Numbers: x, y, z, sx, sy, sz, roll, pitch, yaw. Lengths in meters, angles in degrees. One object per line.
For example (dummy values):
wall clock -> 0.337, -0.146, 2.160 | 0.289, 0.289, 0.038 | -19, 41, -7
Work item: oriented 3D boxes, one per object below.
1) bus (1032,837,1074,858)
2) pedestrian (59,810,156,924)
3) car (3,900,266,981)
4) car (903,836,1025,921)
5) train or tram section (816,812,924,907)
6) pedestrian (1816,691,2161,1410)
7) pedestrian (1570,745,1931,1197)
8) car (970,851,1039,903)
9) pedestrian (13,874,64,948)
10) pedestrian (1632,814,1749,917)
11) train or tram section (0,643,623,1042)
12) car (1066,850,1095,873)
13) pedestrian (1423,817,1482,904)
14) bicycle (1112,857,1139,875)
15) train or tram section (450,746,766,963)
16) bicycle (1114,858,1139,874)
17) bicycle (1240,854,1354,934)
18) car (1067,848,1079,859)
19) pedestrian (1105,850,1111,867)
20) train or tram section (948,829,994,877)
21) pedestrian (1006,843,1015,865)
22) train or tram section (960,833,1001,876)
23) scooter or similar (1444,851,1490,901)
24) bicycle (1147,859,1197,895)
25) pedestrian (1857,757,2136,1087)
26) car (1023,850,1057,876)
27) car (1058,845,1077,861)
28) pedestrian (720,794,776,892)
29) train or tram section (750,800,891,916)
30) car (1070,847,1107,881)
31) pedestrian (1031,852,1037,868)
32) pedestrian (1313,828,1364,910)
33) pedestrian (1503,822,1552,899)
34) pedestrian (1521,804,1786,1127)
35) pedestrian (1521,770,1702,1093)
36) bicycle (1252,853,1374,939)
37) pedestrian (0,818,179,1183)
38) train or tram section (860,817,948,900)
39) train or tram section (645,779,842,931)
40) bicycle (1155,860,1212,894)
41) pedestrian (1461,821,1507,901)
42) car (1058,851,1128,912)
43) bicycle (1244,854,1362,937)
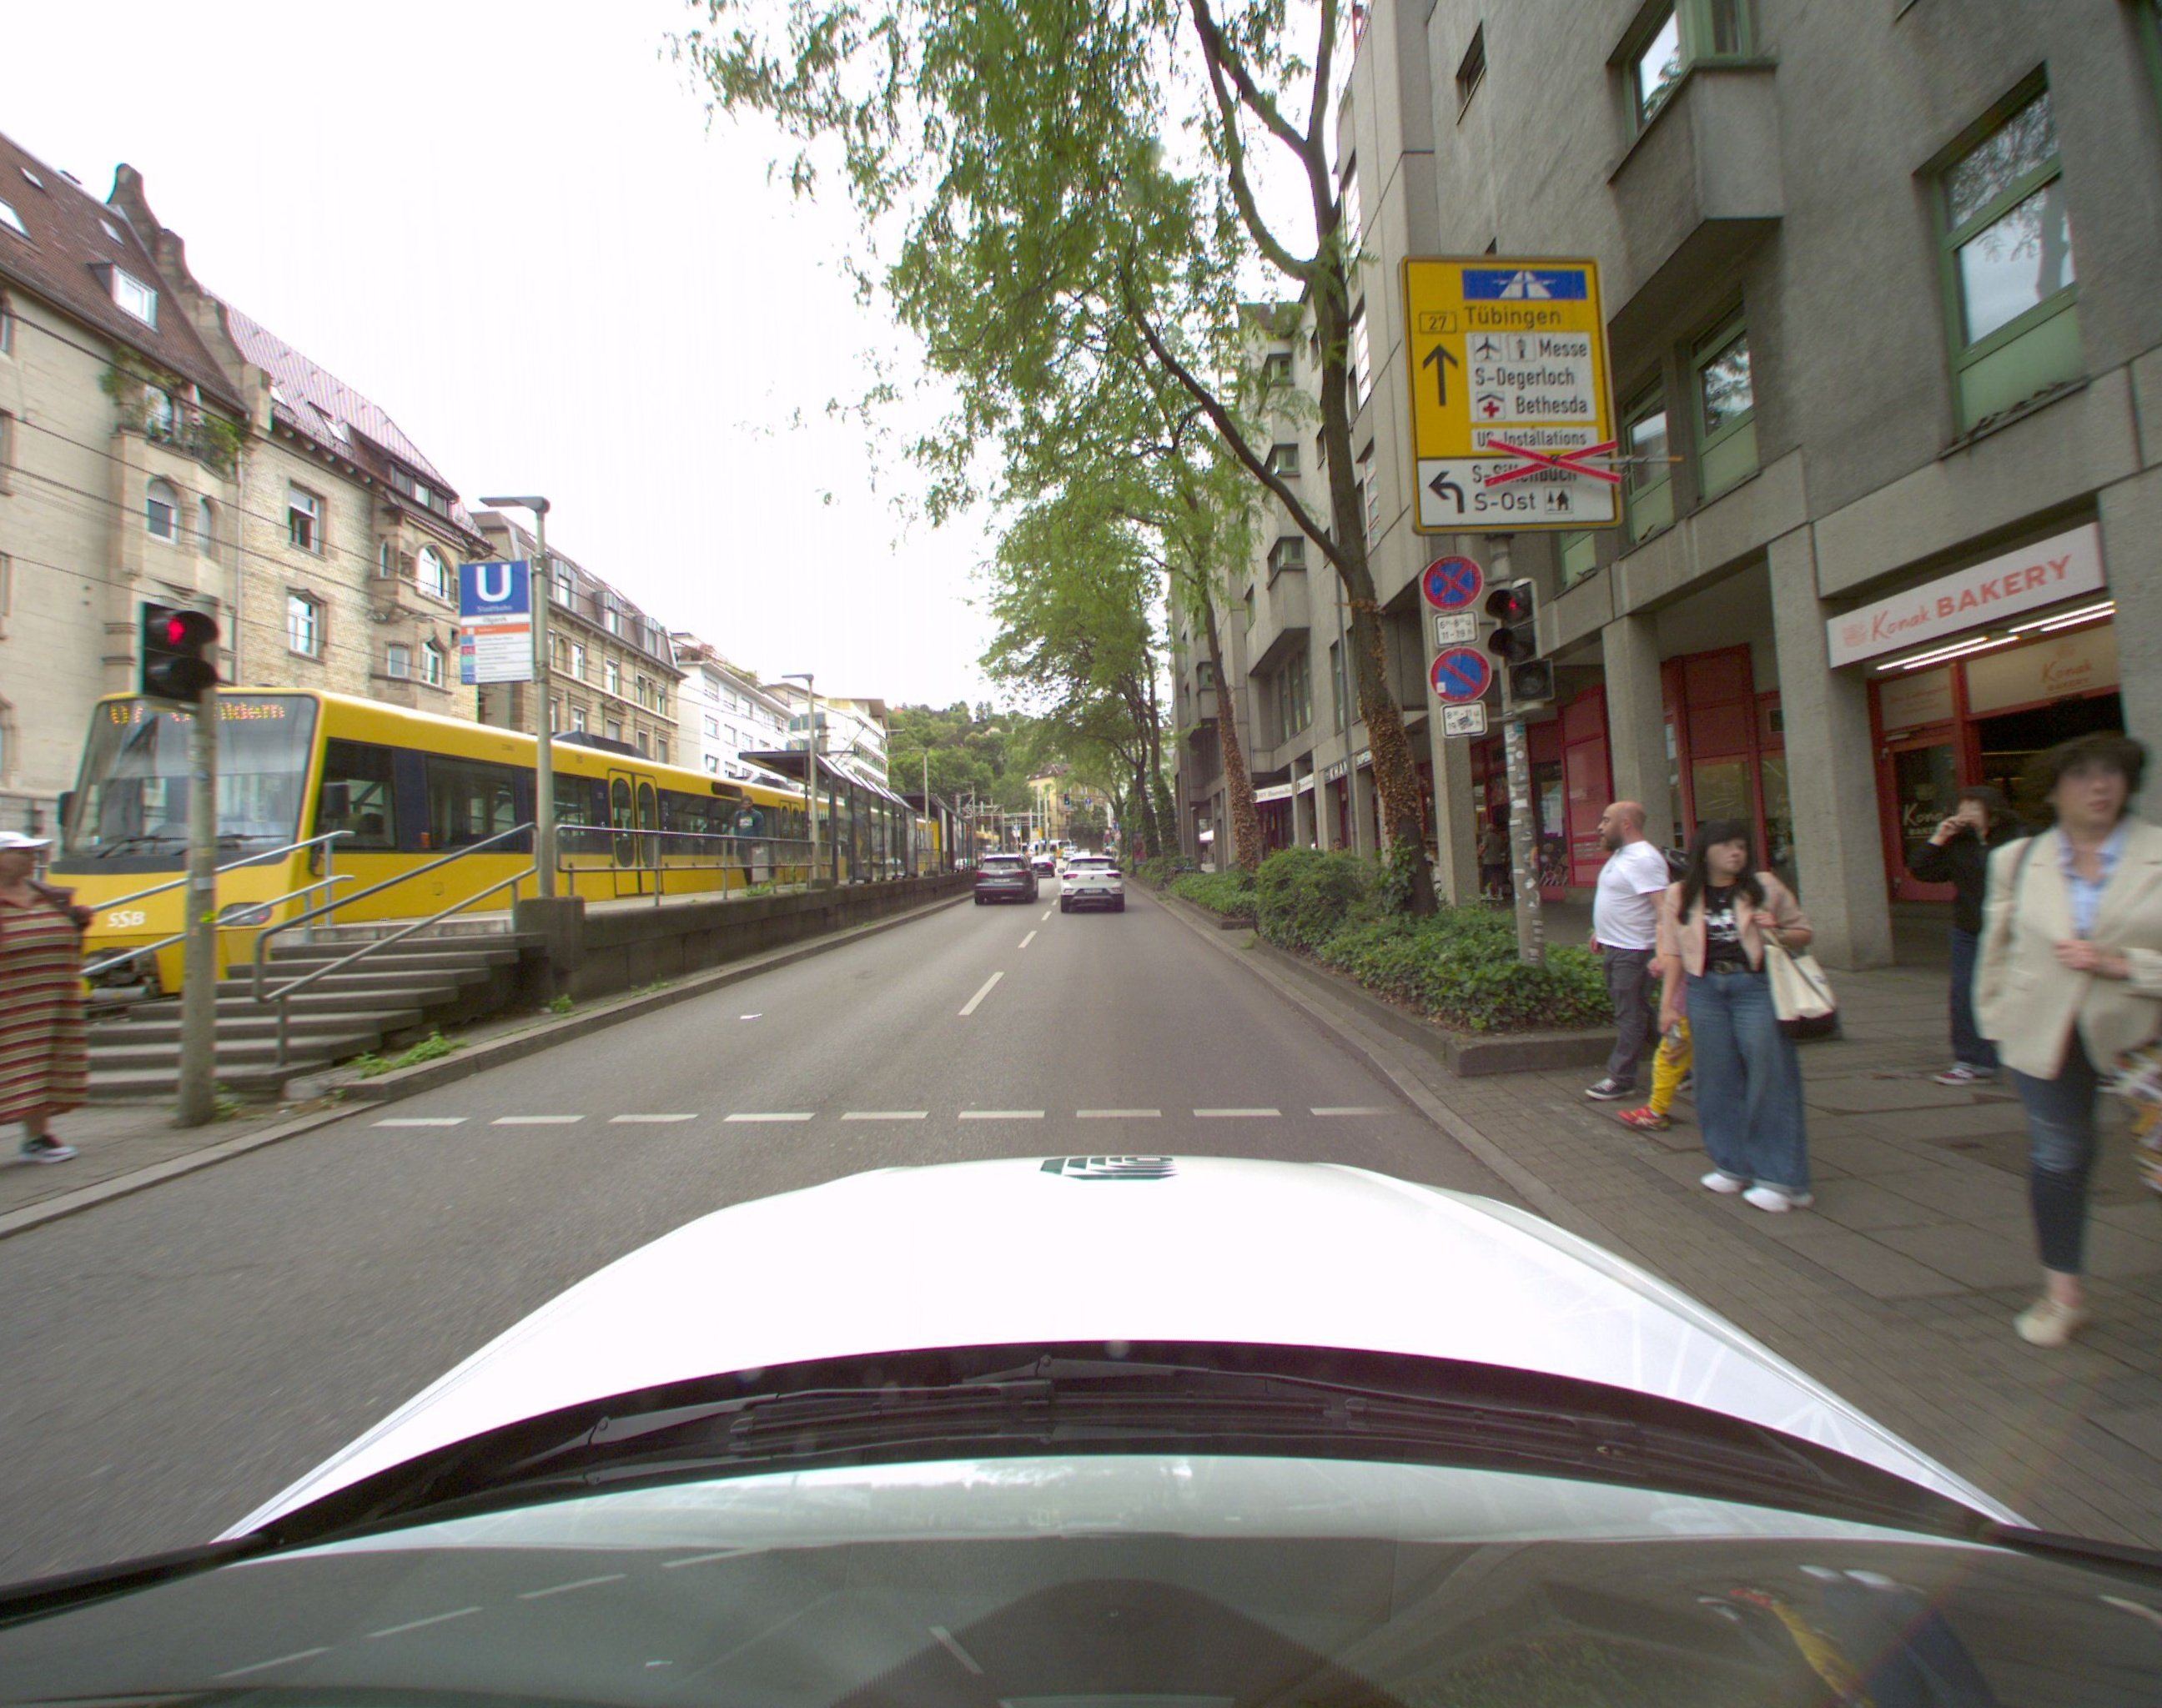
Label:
bus -> -5.071, -1.081, 143.867 | 3.384, 3.065, 13.230 | 0, -2, -20
pedestrian -> -15.105, 0.197, 12.650 | 0.686, 1.711, 0.661 | -2, -1, -1
car -> -20.936, 1.852, 18.260 | 1.553, 1.524, 3.601 | -1, -2, 2
car -> -2.980, 0.672, 22.098 | 2.355, 2.014, 5.150 | -1, -2, 2
train or tram section -> -8.510, 0.249, 33.508 | 2.825, 3.521, 5.752 | -1, -1, 1
pedestrian -> 2.915, 0.469, 2.387 | 0.692, 1.777, 0.688 | -6, -1, -4
pedestrian -> 2.851, 0.452, 3.567 | 0.834, 1.704, 0.763 | -4, -1, -4
car -> -2.547, 0.751, 28.106 | 1.987, 1.636, 3.999 | -1, 0, 0
pedestrian -> -25.486, 1.383, 19.923 | 0.632, 1.762, 0.836 | 0, -2, -42
pedestrian -> 8.788, 0.162, 11.768 | 1.054, 1.363, 0.755 | -4, -1, -7
train or tram section -> -8.966, -0.066, 10.446 | 2.825, 3.679, 5.752 | -1, -1, 1
car -> -0.088, 0.633, 65.819 | 1.882, 1.684, 4.151 | -1, -2, -6
pedestrian -> 7.982, 0.134, 17.531 | 0.829, 1.803, 0.723 | -4, 0, 0
bicycle -> 3.266, 0.916, 60.237 | 1.869, 1.266, 0.766 | -1, -2, 11
train or tram section -> -8.863, 0.044, 16.212 | 2.825, 3.521, 5.752 | -1, -1, 1
bicycle -> 3.451, 0.904, 61.730 | 1.871, 1.137, 0.809 | -1, -2, 6
bicycle -> 3.554, 0.647, 13.437 | 1.706, 1.184, 0.447 | -4, -1, -7
car -> -1.280, -0.128, 133.936 | 1.878, 1.684, 4.161 | -1, -2, 1
pedestrian -> 3.333, 0.584, 100.636 | 0.758, 2.014, 0.839 | -1, -2, 5
train or tram section -> -8.897, -0.031, 66.575 | 2.804, 3.666, 6.748 | -1, -1, -1
pedestrian -> -6.411, 0.014, 73.795 | 0.761, 2.014, 0.836 | 0, -2, -7
train or tram section -> -8.962, 0.129, 73.330 | 2.804, 3.666, 6.748 | -1, -1, -1
scooter or similar -> 9.106, 0.519, 19.250 | 0.756, 1.110, 0.861 | -4, -2, 13
bicycle -> 3.143, 0.800, 28.262 | 1.613, 1.128, 0.614 | -4, -1, 3
pedestrian -> 4.933, 0.331, 4.441 | 0.615, 1.612, 0.763 | -3, 1, -4
car -> -2.752, 0.614, 55.062 | 1.904, 1.689, 4.002 | 0, 0, 2
car -> -1.910, -0.117, 118.818 | 2.354, 2.014, 5.152 | -1, -2, 4
pedestrian -> -5.991, -0.188, 14.688 | 0.715, 1.731, 0.671 | -1, -2, 1
train or tram section -> -8.621, 0.164, 27.749 | 2.825, 3.521, 5.752 | -1, -1, 1
car -> 0.396, 0.581, 43.198 | 1.879, 1.684, 4.160 | -1, -2, 0
pedestrian -> -5.877, 0.765, 101.755 | 0.759, 2.014, 0.838 | -1, -2, 1
pedestrian -> 5.818, 0.321, 18.428 | 0.761, 1.783, 0.846 | -3, 1, -5
pedestrian -> 9.785, 0.126, 17.872 | 0.613, 1.612, 0.765 | -3, 1, 4
pedestrian -> 3.021, 0.549, 4.386 | 0.834, 1.563, 0.763 | -1, -2, -4
pedestrian -> 3.170, 0.434, 4.930 | 0.517, 1.789, 0.763 | -1, -2, -4
bicycle -> 3.552, 0.636, 12.507 | 1.706, 1.184, 0.447 | -4, -1, -7
pedestrian -> -5.388, 0.702, 4.188 | 0.683, 1.711, 0.711 | -2, -1, 0
train or tram section -> -8.399, 0.258, 39.349 | 2.803, 3.666, 5.903 | -1, -1, 1
train or tram section -> -8.755, 0.070, 21.967 | 2.825, 3.521, 5.752 | -1, -1, 1
bicycle -> 3.699, 0.819, 29.482 | 1.911, 1.076, 0.612 | -4, -1, -3
pedestrian -> 9.116, 0.160, 18.463 | 0.755, 1.723, 0.680 | -4, -2, 20
car -> 0.289, 0.730, 23.826 | 1.832, 1.584, 4.155 | -1, 0, -1
bicycle -> 3.524, 0.643, 12.959 | 1.706, 1.184, 0.447 | -4, -1, -7
